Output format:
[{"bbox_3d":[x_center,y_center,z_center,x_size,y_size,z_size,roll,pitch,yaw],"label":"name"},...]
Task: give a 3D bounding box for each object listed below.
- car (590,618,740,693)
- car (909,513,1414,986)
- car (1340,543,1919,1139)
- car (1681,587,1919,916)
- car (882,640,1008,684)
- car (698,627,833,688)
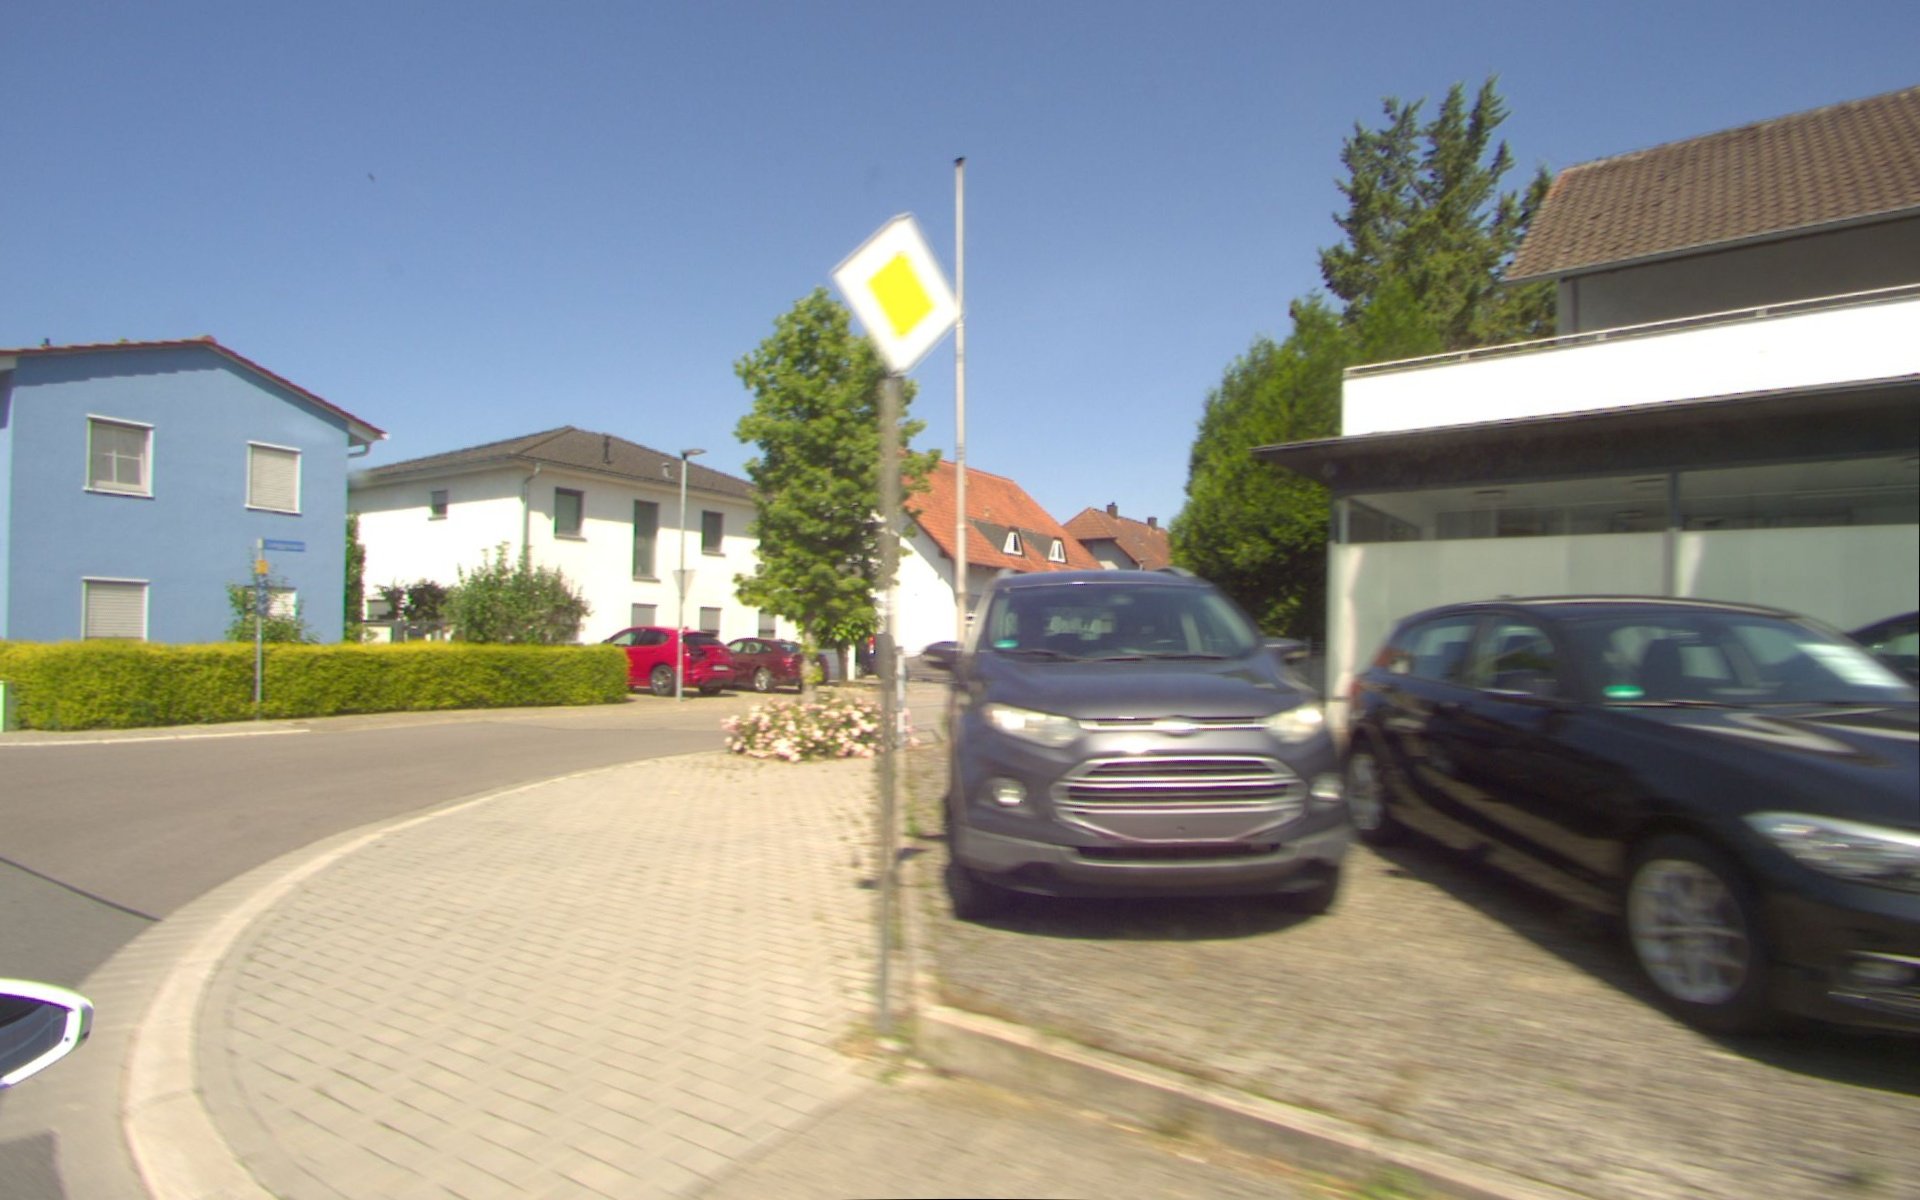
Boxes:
[{"bbox_3d":[-7.192,1.333,24.333,3.426,1.692,1.632,-1,-4,34],"label":"car"},{"bbox_3d":[0.684,0.580,5.634,1.795,1.675,4.115,1,-1,-1],"label":"car"},{"bbox_3d":[3.208,0.641,4.376,1.717,1.465,3.874,1,-1,2],"label":"car"},{"bbox_3d":[5.690,0.734,4.216,1.946,1.585,4.240,2,-2,-7],"label":"car"},{"bbox_3d":[-0.561,2.179,35.823,4.327,1.447,1.689,-1,-3,34],"label":"car"},{"bbox_3d":[-5.302,1.561,27.254,3.426,1.539,1.618,-1,-4,34],"label":"car"}]
